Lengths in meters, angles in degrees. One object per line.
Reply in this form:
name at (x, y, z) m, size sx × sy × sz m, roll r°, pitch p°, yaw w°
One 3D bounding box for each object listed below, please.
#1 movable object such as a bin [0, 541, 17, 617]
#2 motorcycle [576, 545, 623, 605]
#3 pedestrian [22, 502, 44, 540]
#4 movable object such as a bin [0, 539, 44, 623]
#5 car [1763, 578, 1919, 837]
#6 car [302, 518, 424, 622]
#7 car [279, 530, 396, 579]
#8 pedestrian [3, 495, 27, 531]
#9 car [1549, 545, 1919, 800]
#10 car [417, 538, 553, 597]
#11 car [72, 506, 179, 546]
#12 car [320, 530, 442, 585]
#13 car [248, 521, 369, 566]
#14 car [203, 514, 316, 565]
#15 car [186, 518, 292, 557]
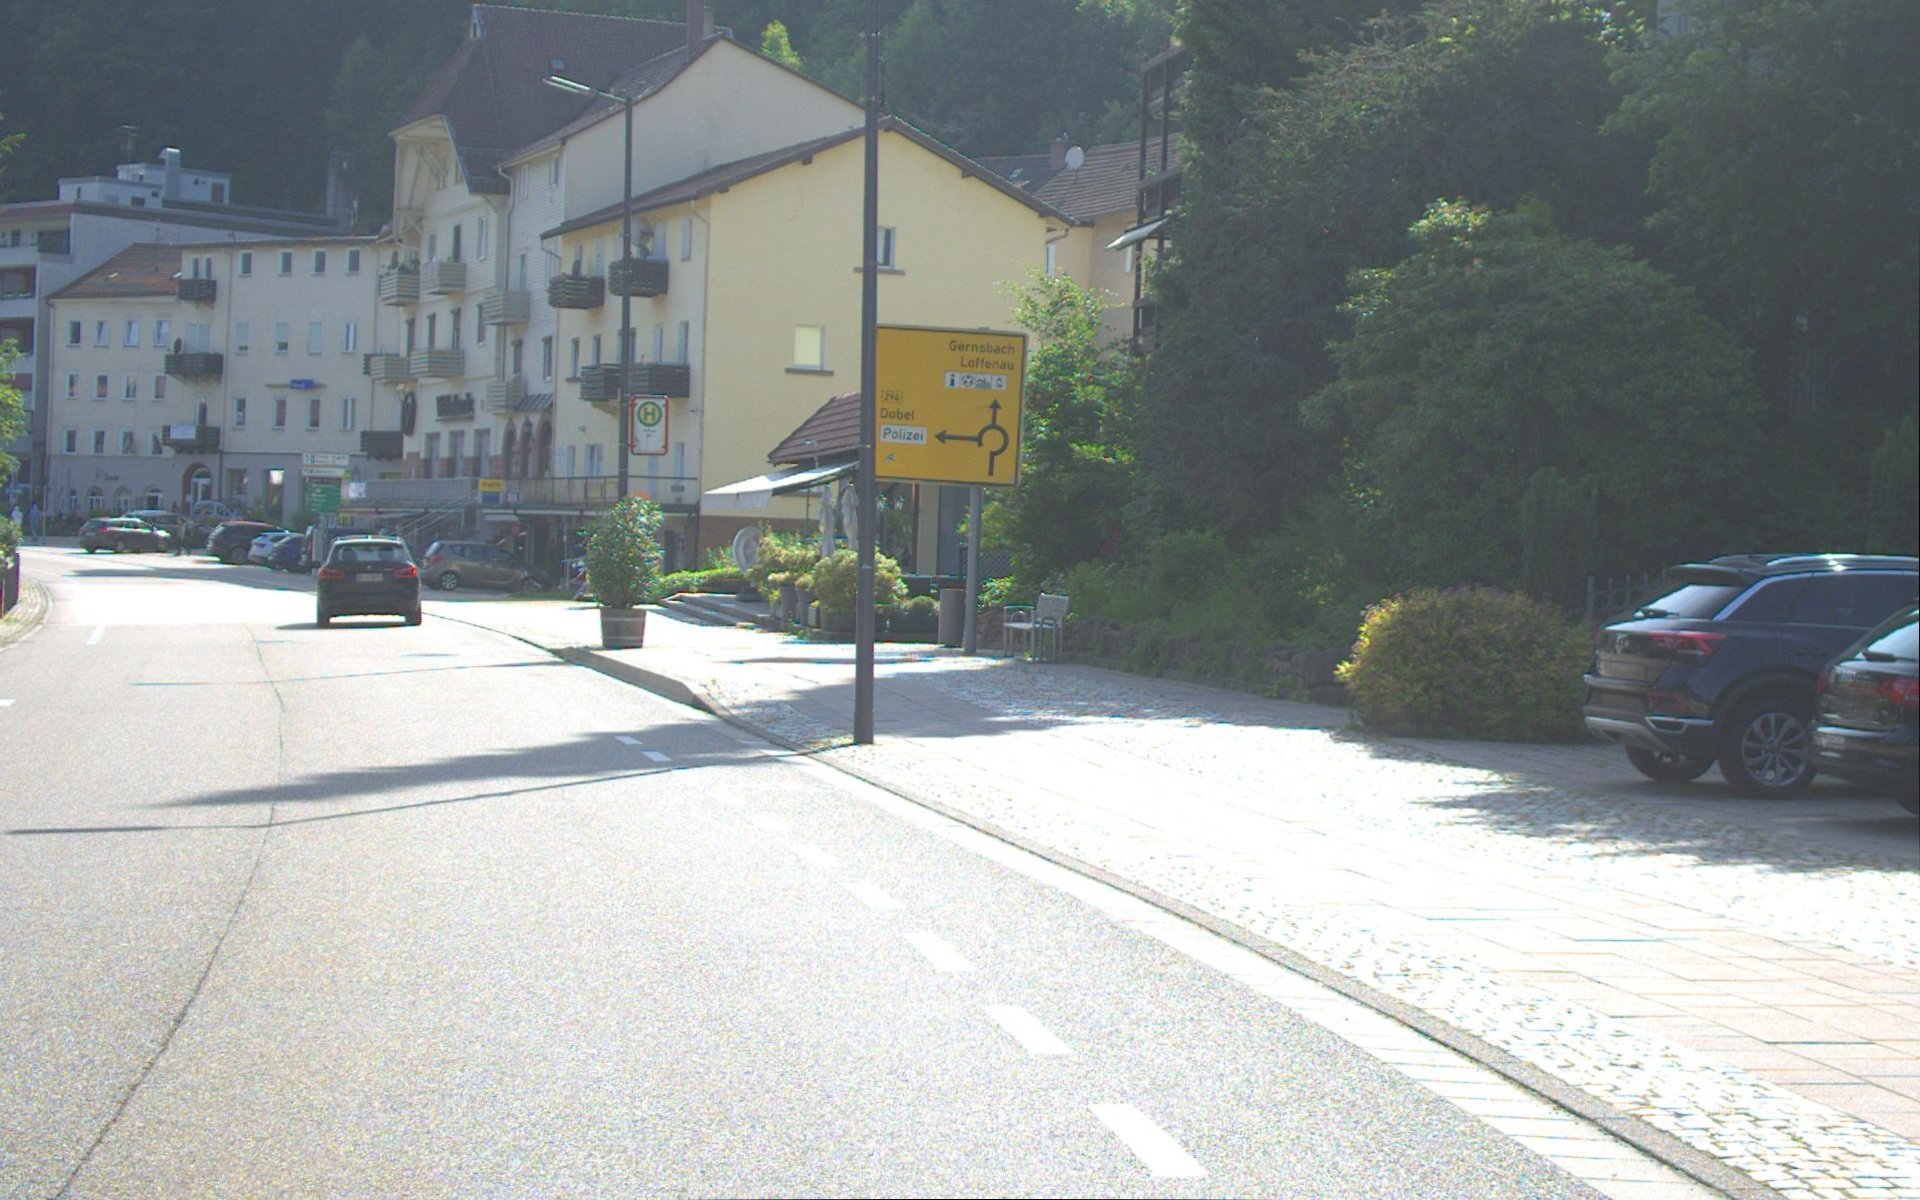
movable object such as a bin at (-17.611, -0.398, 62.575) m, size 0.754 × 1.337 × 1.295 m, roll 4°, pitch 0°, yaw -14°
motorcycle at (-7.943, -0.559, 75.658) m, size 0.697 × 1.292 × 2.213 m, roll -1°, pitch 1°, yaw -14°
pedestrian at (-43.071, -3.685, 159.711) m, size 0.669 × 1.723 × 0.707 m, roll 2°, pitch 1°, yaw -43°
movable object such as a bin at (-16.807, -0.349, 60.729) m, size 1.078 × 1.422 × 1.377 m, roll 4°, pitch 0°, yaw -14°
car at (7.006, 0.626, 20.107) m, size 4.108 × 1.410 × 1.749 m, roll 1°, pitch 1°, yaw -9°
car at (-10.461, -0.549, 60.090) m, size 1.726 × 1.569 × 3.754 m, roll 3°, pitch 2°, yaw -14°
car at (-22.999, -1.677, 126.982) m, size 3.908 × 1.456 × 1.737 m, roll 4°, pitch 0°, yaw -20°
pedestrian at (-43.522, -4.016, 158.348) m, size 0.757 × 1.588 × 0.628 m, roll 2°, pitch 1°, yaw -43°
car at (6.069, 0.471, 22.785) m, size 3.874 × 1.574 × 1.749 m, roll 1°, pitch 1°, yaw -9°
car at (-15.097, -1.038, 109.225) m, size 3.858 × 1.549 × 1.761 m, roll 4°, pitch 0°, yaw -23°
car at (-35.210, -3.127, 145.038) m, size 3.987 × 1.656 × 2.000 m, roll 0°, pitch 2°, yaw -31°
car at (-20.565, -1.512, 122.048) m, size 3.908 × 1.583 × 1.775 m, roll 5°, pitch 1°, yaw -20°
car at (-25.249, -2.191, 133.187) m, size 4.355 × 1.456 × 1.773 m, roll 4°, pitch -1°, yaw -18°
car at (-27.989, -2.413, 137.302) m, size 4.082 × 1.660 × 1.773 m, roll 5°, pitch 0°, yaw -20°
car at (-30.387, -2.639, 144.865) m, size 4.011 × 1.511 × 1.772 m, roll -2°, pitch 5°, yaw -41°
